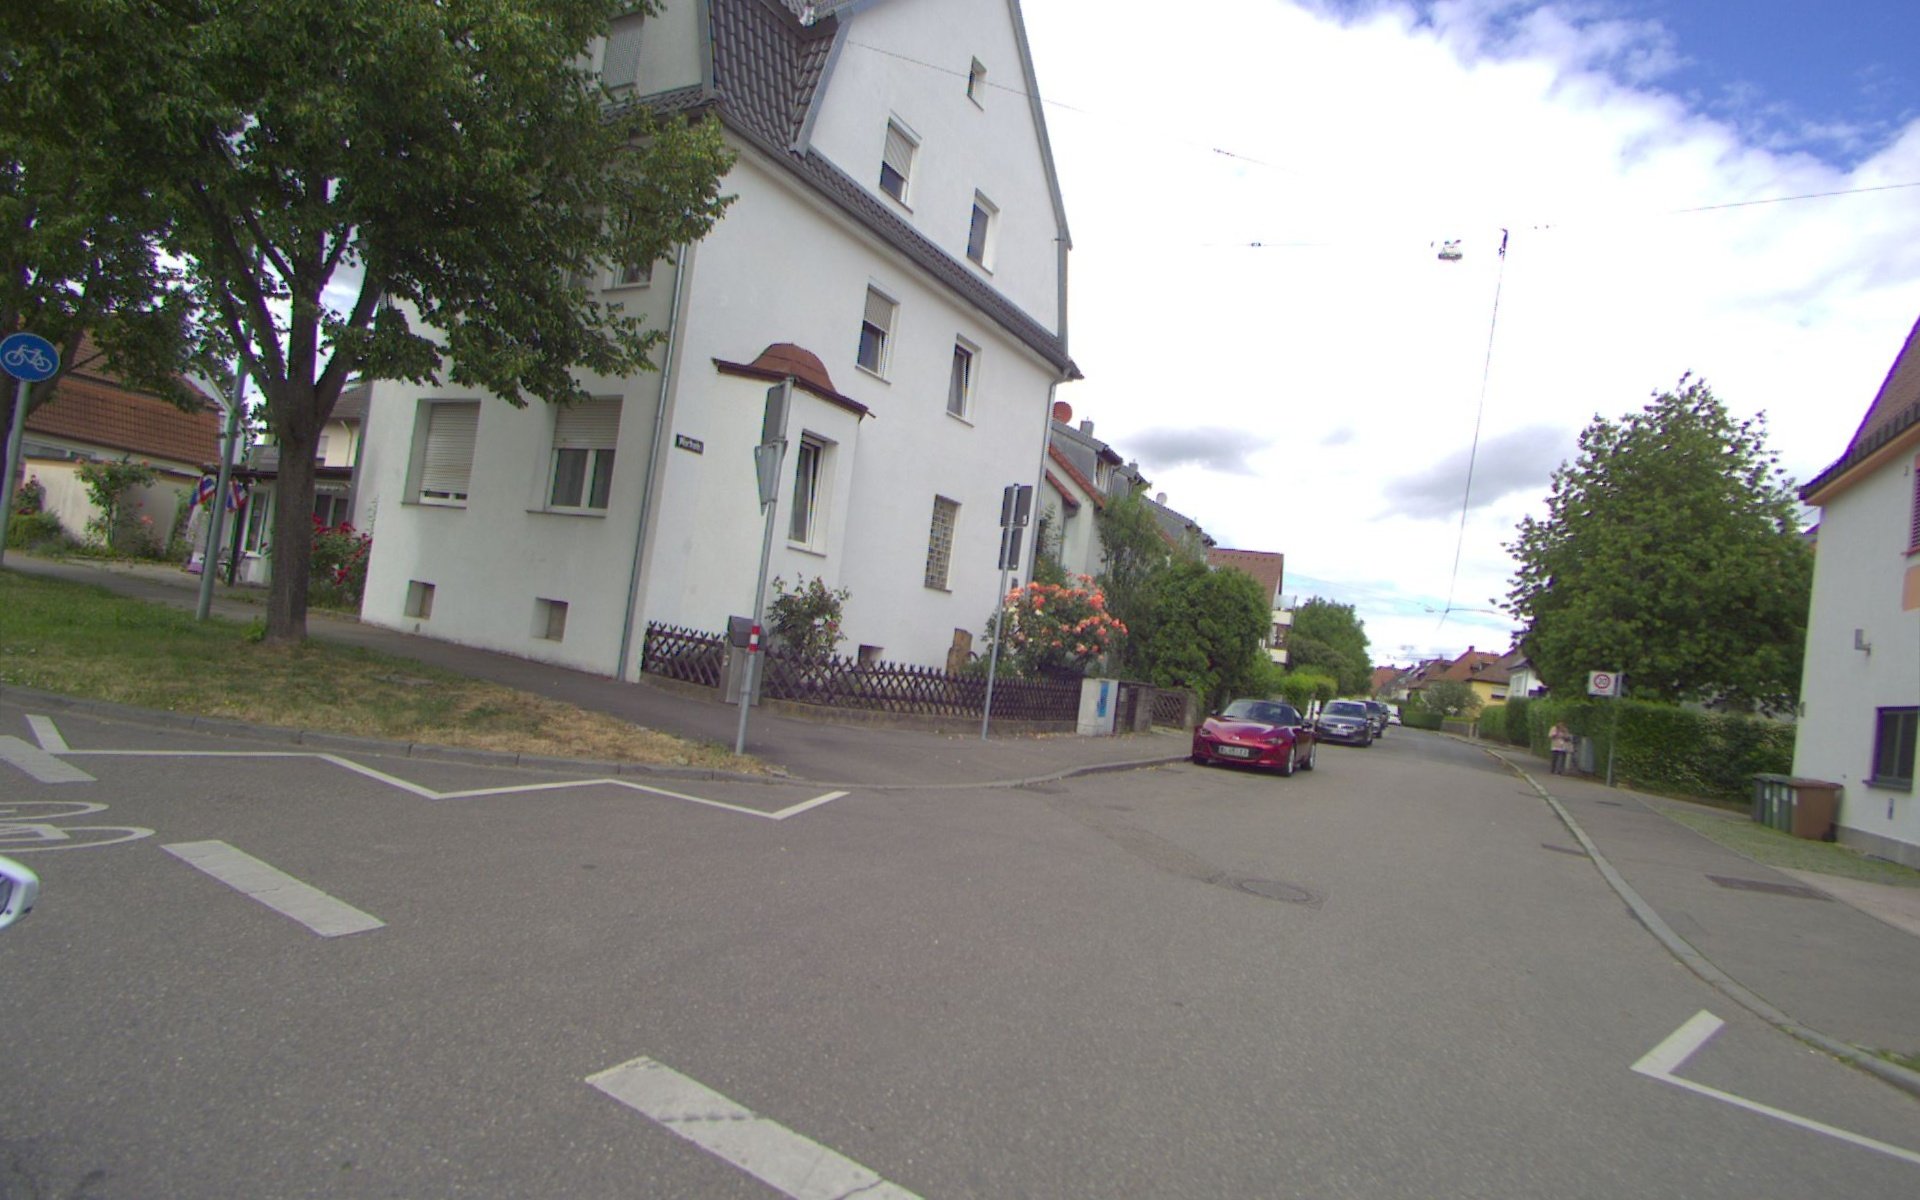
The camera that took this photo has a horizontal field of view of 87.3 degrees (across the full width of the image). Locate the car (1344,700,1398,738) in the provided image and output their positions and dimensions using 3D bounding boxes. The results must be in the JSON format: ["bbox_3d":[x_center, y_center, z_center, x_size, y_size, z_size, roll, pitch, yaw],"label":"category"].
[{"bbox_3d":[17.896,5.170,43.716,1.631,1.321,3.693,7,-2,30],"label":"car"}]

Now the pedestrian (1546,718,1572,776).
[{"bbox_3d":[17.123,4.185,28.776,0.552,1.576,0.576,3,-3,31],"label":"pedestrian"}]

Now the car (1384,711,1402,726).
[{"bbox_3d":[49.632,13.601,115.468,1.629,1.436,3.698,7,-2,22],"label":"car"}]

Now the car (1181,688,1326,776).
[{"bbox_3d":[5.494,2.415,18.549,1.717,1.244,3.707,5,-4,29],"label":"car"}]

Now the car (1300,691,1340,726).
[{"bbox_3d":[21.722,6.515,60.614,1.733,1.770,4.000,7,-2,25],"label":"car"}]

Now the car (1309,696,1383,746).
[{"bbox_3d":[12.858,4.006,33.388,1.631,1.321,3.693,7,-2,30],"label":"car"}]

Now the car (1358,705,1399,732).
[{"bbox_3d":[24.347,6.873,58.450,1.631,1.321,3.693,7,-2,30],"label":"car"}]
